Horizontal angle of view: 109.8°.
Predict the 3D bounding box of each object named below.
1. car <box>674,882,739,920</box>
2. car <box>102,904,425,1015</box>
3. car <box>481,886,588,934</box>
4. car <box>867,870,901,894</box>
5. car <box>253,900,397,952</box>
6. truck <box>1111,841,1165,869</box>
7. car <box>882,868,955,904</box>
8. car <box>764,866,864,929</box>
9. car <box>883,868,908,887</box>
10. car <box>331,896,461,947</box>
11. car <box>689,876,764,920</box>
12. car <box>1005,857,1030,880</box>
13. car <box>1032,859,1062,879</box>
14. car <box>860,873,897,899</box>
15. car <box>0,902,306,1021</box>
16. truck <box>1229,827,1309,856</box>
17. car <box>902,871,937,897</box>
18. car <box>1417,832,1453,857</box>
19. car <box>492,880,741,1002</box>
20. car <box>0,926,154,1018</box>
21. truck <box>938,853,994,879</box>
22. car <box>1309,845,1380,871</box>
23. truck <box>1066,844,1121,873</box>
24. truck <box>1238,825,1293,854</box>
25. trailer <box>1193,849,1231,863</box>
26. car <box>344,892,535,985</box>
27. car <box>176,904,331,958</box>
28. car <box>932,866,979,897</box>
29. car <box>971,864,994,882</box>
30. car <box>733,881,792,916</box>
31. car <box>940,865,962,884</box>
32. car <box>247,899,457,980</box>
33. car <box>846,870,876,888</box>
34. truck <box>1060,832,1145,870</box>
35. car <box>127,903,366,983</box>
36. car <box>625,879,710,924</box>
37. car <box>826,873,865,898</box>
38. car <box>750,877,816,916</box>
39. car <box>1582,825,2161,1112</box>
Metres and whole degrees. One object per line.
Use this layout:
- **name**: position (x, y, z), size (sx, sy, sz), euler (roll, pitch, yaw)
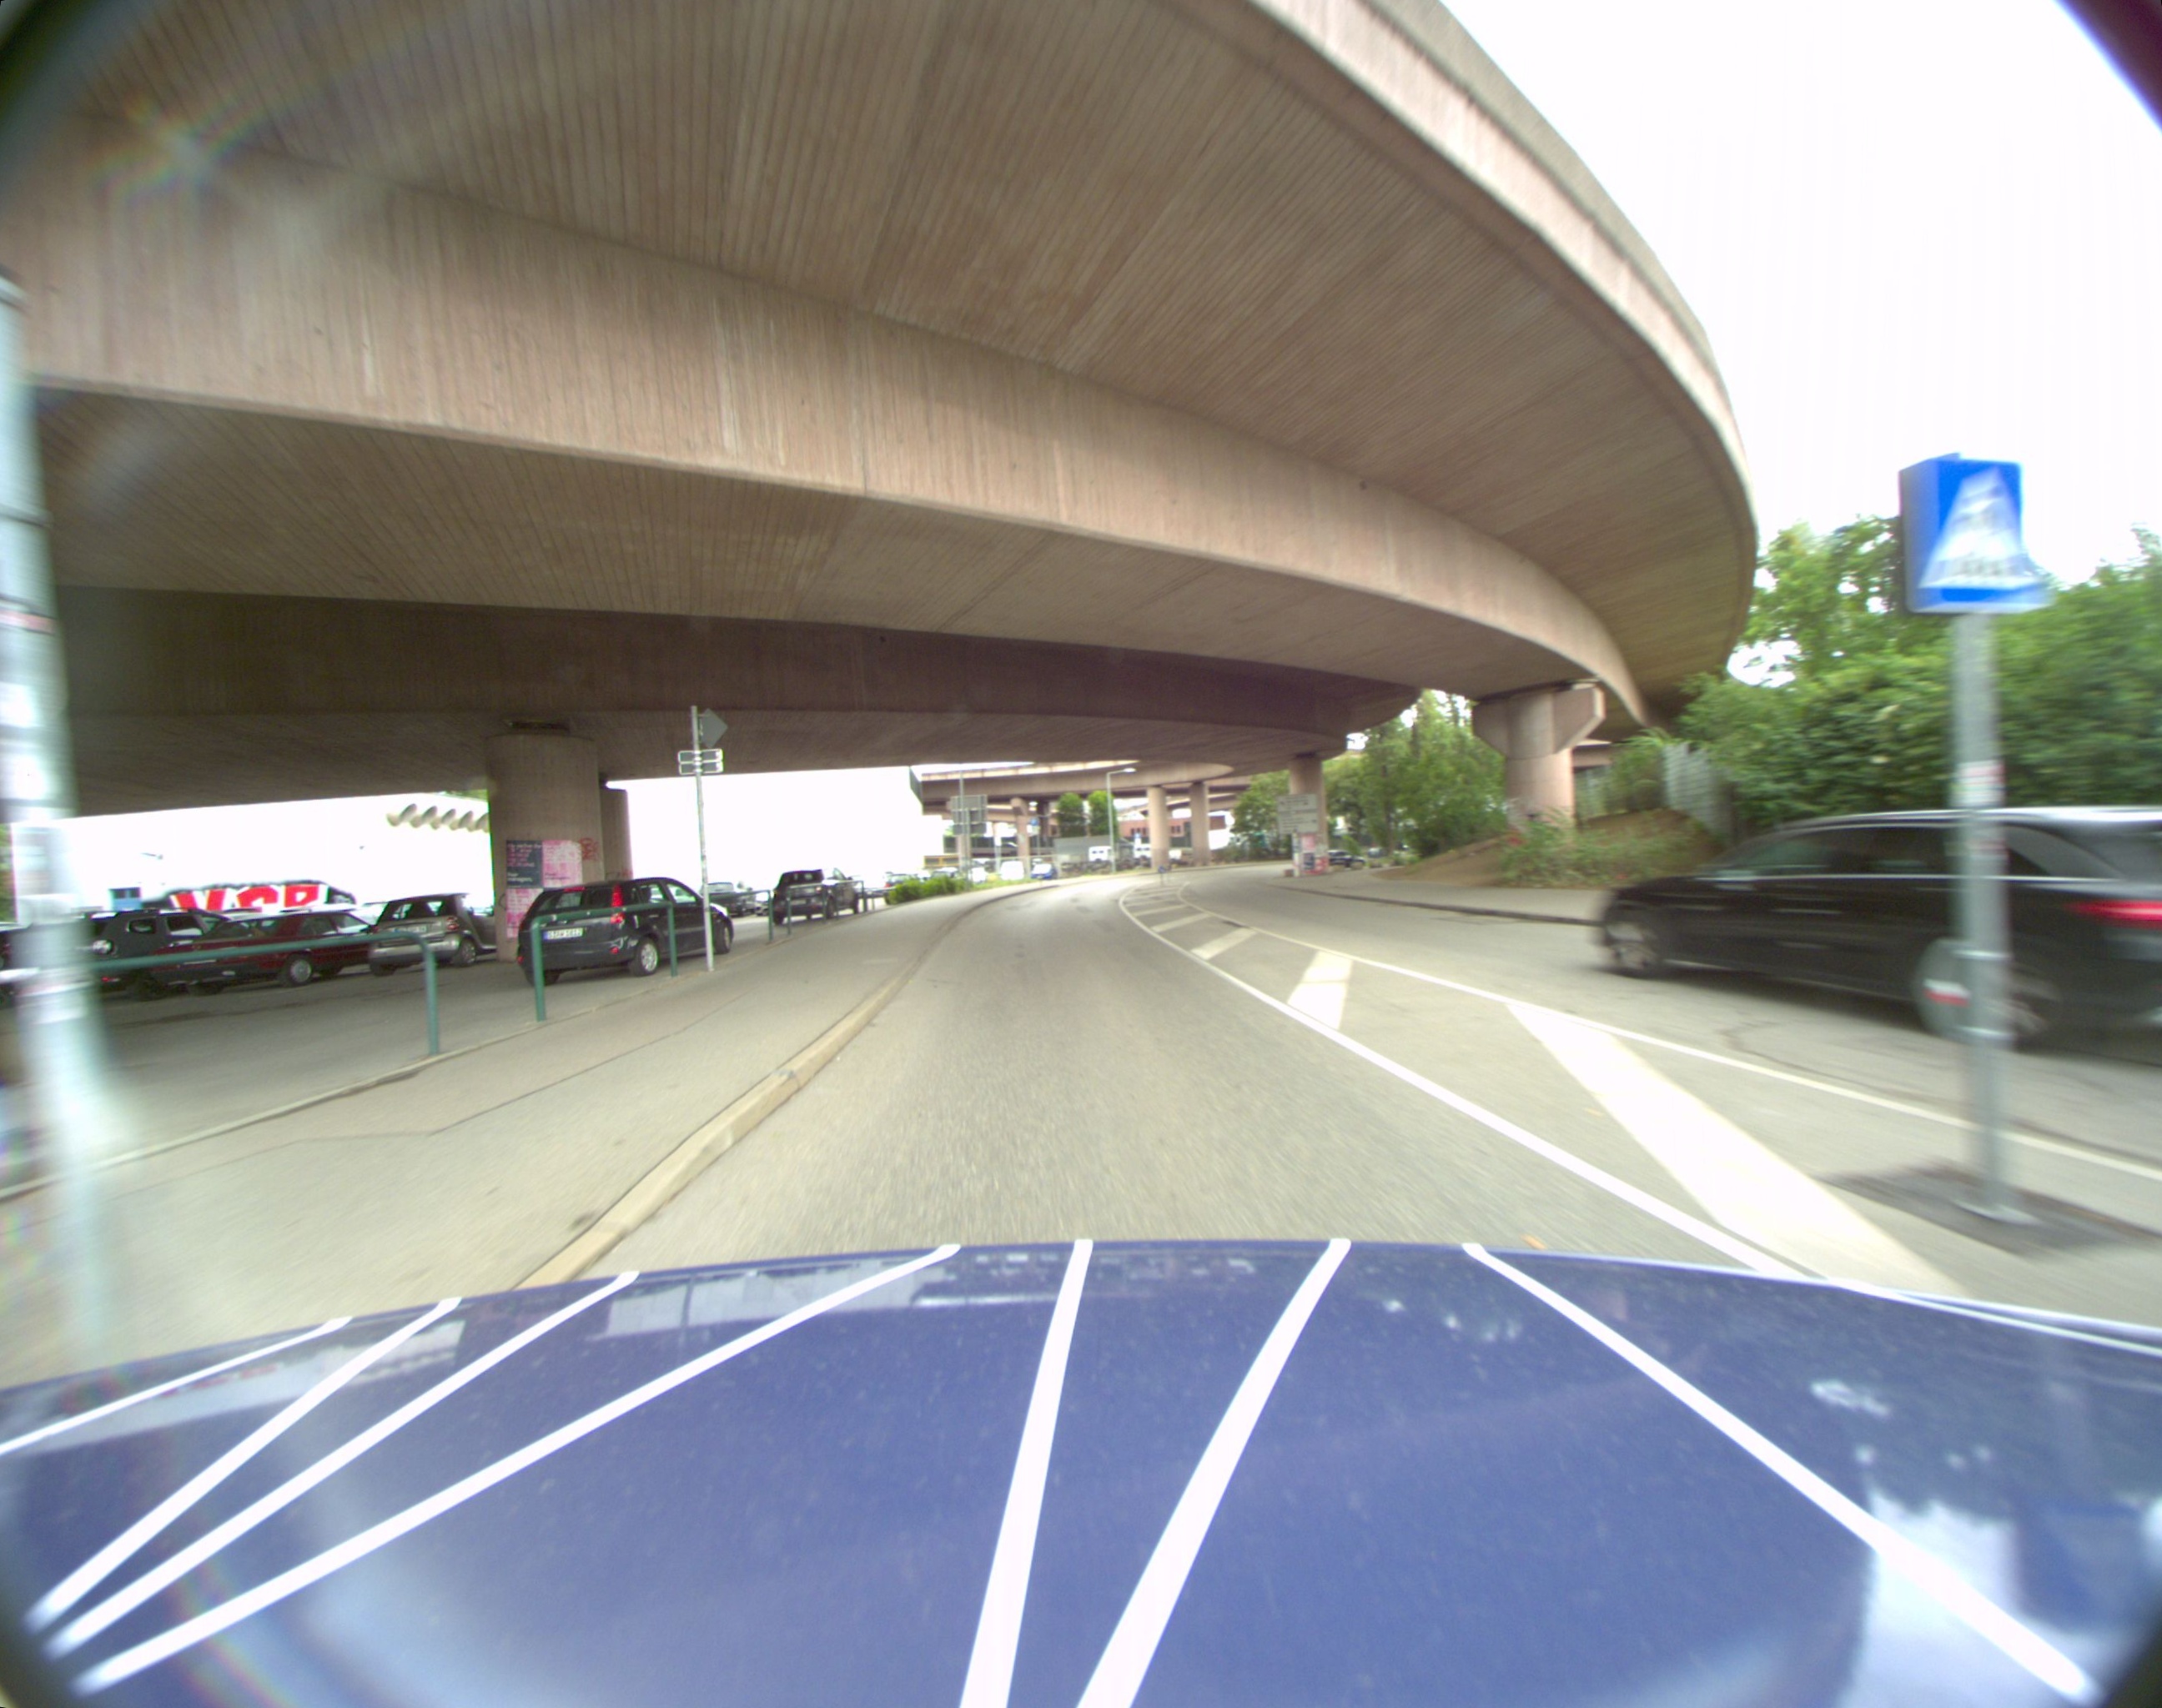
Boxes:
- **car**: position (-18.158, 2.223, 37.055), size (1.757, 1.547, 4.084), euler (-3, 0, -11)
- **car**: position (-15.601, 1.919, 14.957), size (1.838, 1.461, 4.377), euler (-4, 0, -7)
- **car**: position (-21.899, 2.191, 30.675), size (1.838, 1.583, 4.188), euler (-3, 0, -11)
- **car**: position (-14.005, 1.959, 54.227), size (1.839, 1.504, 4.498), euler (-3, 0, -8)
- **car**: position (-29.159, 2.718, 29.516), size (1.838, 1.583, 4.188), euler (-3, 0, -11)
- **truck**: position (6.235, 0.109, 82.101), size (2.418, 2.728, 7.249), euler (-3, 0, 35)
- **car**: position (-7.810, 1.519, 36.973), size (1.732, 1.470, 4.253), euler (-3, 0, 13)
- **car**: position (-7.702, 1.202, 22.216), size (1.610, 1.524, 3.410), euler (-5, 0, -1)
- **car**: position (-15.874, 1.990, 65.083), size (1.623, 1.535, 3.096), euler (-3, 0, -7)
- **car**: position (-26.770, 2.596, 29.917), size (1.838, 1.583, 4.188), euler (-3, 0, -11)
- **car**: position (-14.824, 1.790, 32.018), size (1.838, 1.583, 4.188), euler (-3, 0, -11)
- **car**: position (-5.719, 1.248, 68.550), size (1.893, 1.945, 4.679), euler (-3, 0, -2)
- **car**: position (-2.992, 1.326, 68.399), size (1.773, 1.625, 4.688), euler (-3, 0, 8)
- **car**: position (-12.974, 2.009, 48.922), size (1.858, 1.466, 4.683), euler (-3, 0, -10)
- **car**: position (-17.762, 1.934, 14.766), size (1.838, 1.688, 3.858), euler (-3, 0, -11)
- **truck**: position (25.235, -1.695, 102.155), size (10.214, 3.478, 2.269), euler (-3, 2, -7)
- **car**: position (-10.526, 1.931, 49.706), size (1.858, 1.466, 4.684), euler (-3, 0, -8)
- **car**: position (30.601, -0.851, 65.793), size (1.854, 1.906, 4.978), euler (-3, 1, 15)
- **car**: position (-6.971, 1.217, 11.880), size (1.610, 1.389, 3.579), euler (-5, 0, -1)
- **car**: position (-20.165, 2.241, 13.974), size (1.838, 1.419, 3.858), euler (-3, 0, -11)
- **truck**: position (-14.876, 1.577, 98.703), size (6.928, 2.915, 3.049), euler (-3, 0, -5)
- **car**: position (18.000, 0.242, 51.805), size (4.781, 1.421, 1.825), euler (-3, -2, -32)
- **truck**: position (1.420, 0.434, 82.078), size (2.452, 2.869, 6.131), euler (-3, 0, 40)
- **truck**: position (23.911, -1.849, 98.762), size (6.410, 3.389, 2.269), euler (-3, 2, -5)
- **trailer**: position (14.863, 0.214, 86.141), size (4.389, 1.324, 1.602), euler (-4, 2, -34)
- **car**: position (-13.395, 1.694, 16.133), size (1.530, 1.491, 3.372), euler (-5, 0, -11)
- **car**: position (-31.554, 2.866, 29.184), size (1.838, 1.583, 4.188), euler (-3, 0, -11)
- **car**: position (-6.814, 1.480, 41.536), size (1.542, 1.470, 2.763), euler (-3, 0, 13)
- **car**: position (-8.582, 1.654, 66.623), size (1.775, 1.448, 4.553), euler (-3, 0, -5)
- **car**: position (-15.758, 2.140, 37.846), size (1.757, 1.440, 4.455), euler (-3, 0, -11)
- **car**: position (-11.412, 1.766, 66.770), size (1.775, 1.578, 4.358), euler (-3, 0, -9)
- **car**: position (-18.407, 2.071, 19.514), size (1.838, 1.541, 4.188), euler (-3, 0, -11)
- **car**: position (-18.454, 2.089, 63.894), size (1.775, 1.375, 4.358), euler (-3, 0, -7)
- **truck**: position (2.650, -0.375, 96.808), size (10.135, 4.340, 3.911), euler (-3, 0, -8)
- **car**: position (-20.619, 2.111, 19.098), size (1.838, 1.457, 4.188), euler (-3, 0, -11)
- **car**: position (-17.163, 1.907, 31.752), size (1.838, 1.583, 4.188), euler (-3, 0, -11)
- **car**: position (-16.690, 2.215, 54.071), size (1.839, 1.504, 4.498), euler (-3, 0, -8)
- **car**: position (-12.784, 1.792, 32.863), size (1.838, 1.413, 4.188), euler (-3, 0, -11)
- **car**: position (6.738, 0.628, 6.240), size (1.845, 1.565, 4.547), euler (-3, 0, -6)
